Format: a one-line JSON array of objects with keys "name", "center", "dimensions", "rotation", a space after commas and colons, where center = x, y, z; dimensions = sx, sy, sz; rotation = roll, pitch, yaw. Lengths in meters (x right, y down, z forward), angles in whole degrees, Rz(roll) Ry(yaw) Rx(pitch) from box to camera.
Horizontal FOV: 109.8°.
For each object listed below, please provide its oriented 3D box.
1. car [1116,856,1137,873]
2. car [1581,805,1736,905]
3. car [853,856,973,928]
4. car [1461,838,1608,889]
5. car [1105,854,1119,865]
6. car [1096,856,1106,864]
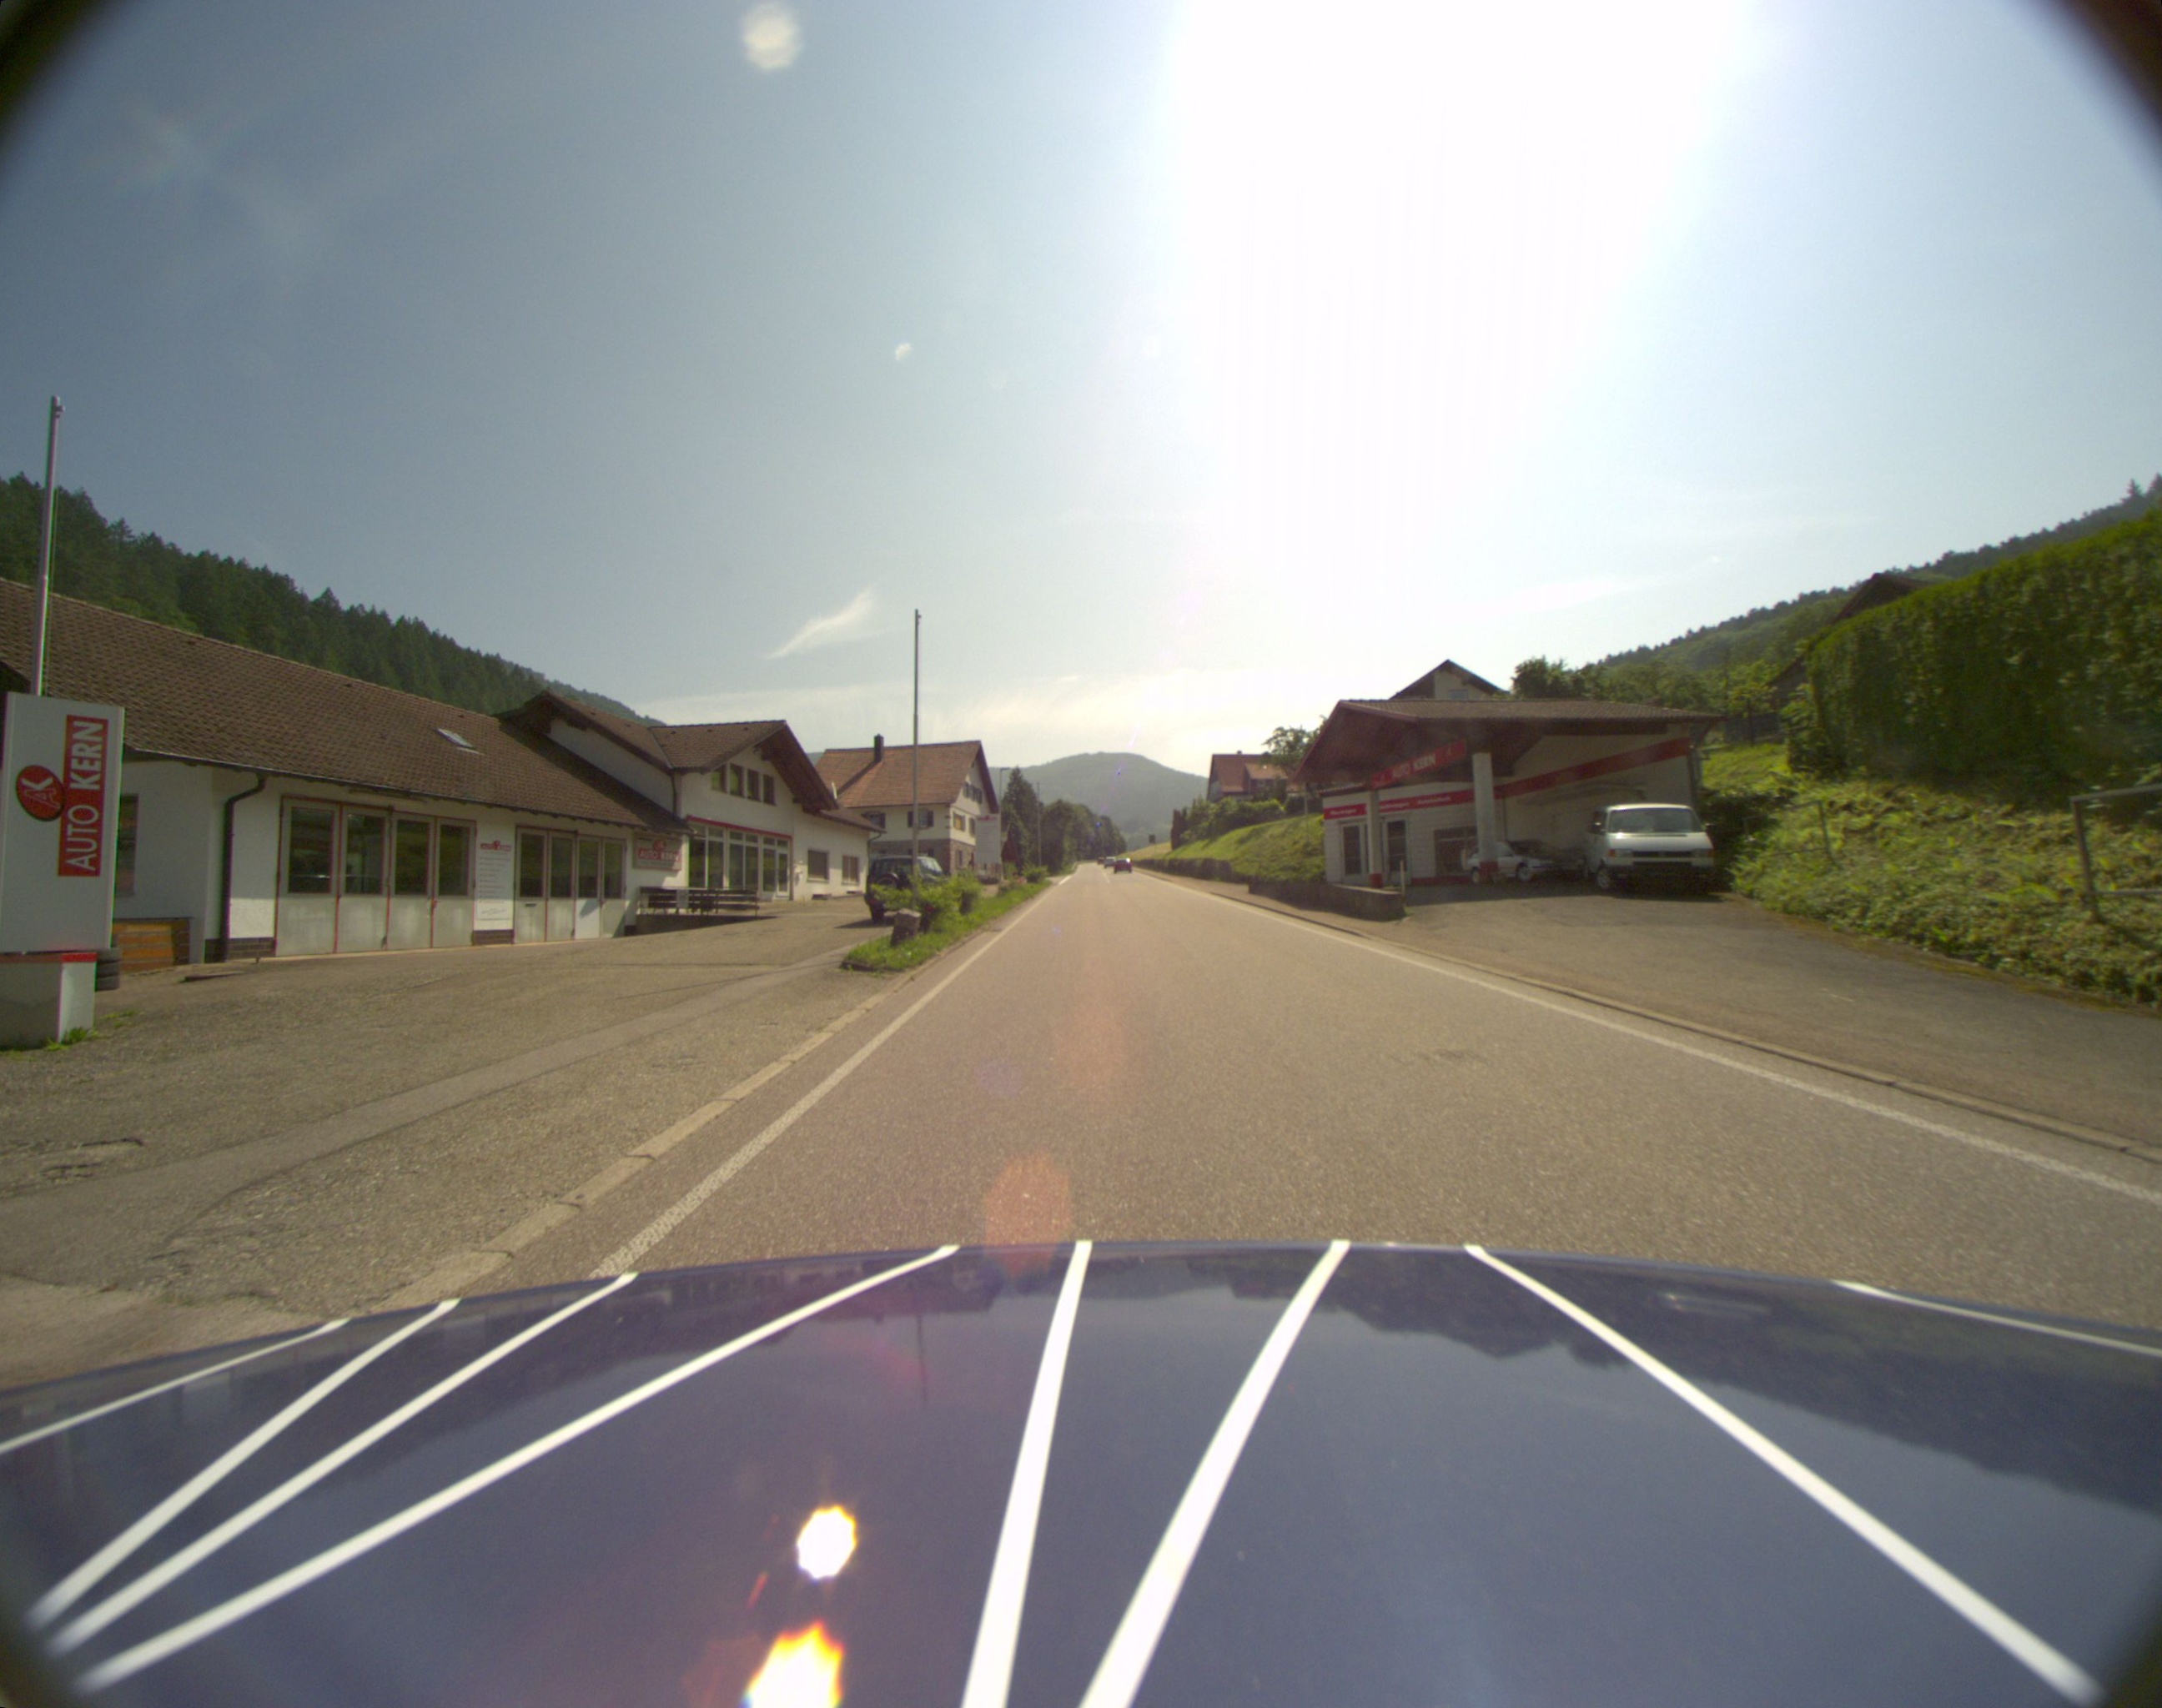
[{"name": "car", "center": [4.480, 1.044, 75.640], "dimensions": [1.816, 1.500, 4.262], "rotation": [-3, 0, 0]}, {"name": "car", "center": [12.775, -0.101, 17.172], "dimensions": [2.021, 1.919, 4.785], "rotation": [1, 3, 28]}, {"name": "car", "center": [-4.691, 1.002, 21.982], "dimensions": [1.812, 1.803, 4.666], "rotation": [-1, 0, 8]}, {"name": "car", "center": [14.122, 0.321, 24.015], "dimensions": [1.963, 1.405, 4.344], "rotation": [-2, -1, -1]}, {"name": "car", "center": [4.594, 0.854, 112.777], "dimensions": [1.816, 1.500, 4.262], "rotation": [-3, 0, -1]}, {"name": "car", "center": [4.430, 1.293, 168.247], "dimensions": [1.816, 1.500, 4.262], "rotation": [-3, 0, -1]}]
